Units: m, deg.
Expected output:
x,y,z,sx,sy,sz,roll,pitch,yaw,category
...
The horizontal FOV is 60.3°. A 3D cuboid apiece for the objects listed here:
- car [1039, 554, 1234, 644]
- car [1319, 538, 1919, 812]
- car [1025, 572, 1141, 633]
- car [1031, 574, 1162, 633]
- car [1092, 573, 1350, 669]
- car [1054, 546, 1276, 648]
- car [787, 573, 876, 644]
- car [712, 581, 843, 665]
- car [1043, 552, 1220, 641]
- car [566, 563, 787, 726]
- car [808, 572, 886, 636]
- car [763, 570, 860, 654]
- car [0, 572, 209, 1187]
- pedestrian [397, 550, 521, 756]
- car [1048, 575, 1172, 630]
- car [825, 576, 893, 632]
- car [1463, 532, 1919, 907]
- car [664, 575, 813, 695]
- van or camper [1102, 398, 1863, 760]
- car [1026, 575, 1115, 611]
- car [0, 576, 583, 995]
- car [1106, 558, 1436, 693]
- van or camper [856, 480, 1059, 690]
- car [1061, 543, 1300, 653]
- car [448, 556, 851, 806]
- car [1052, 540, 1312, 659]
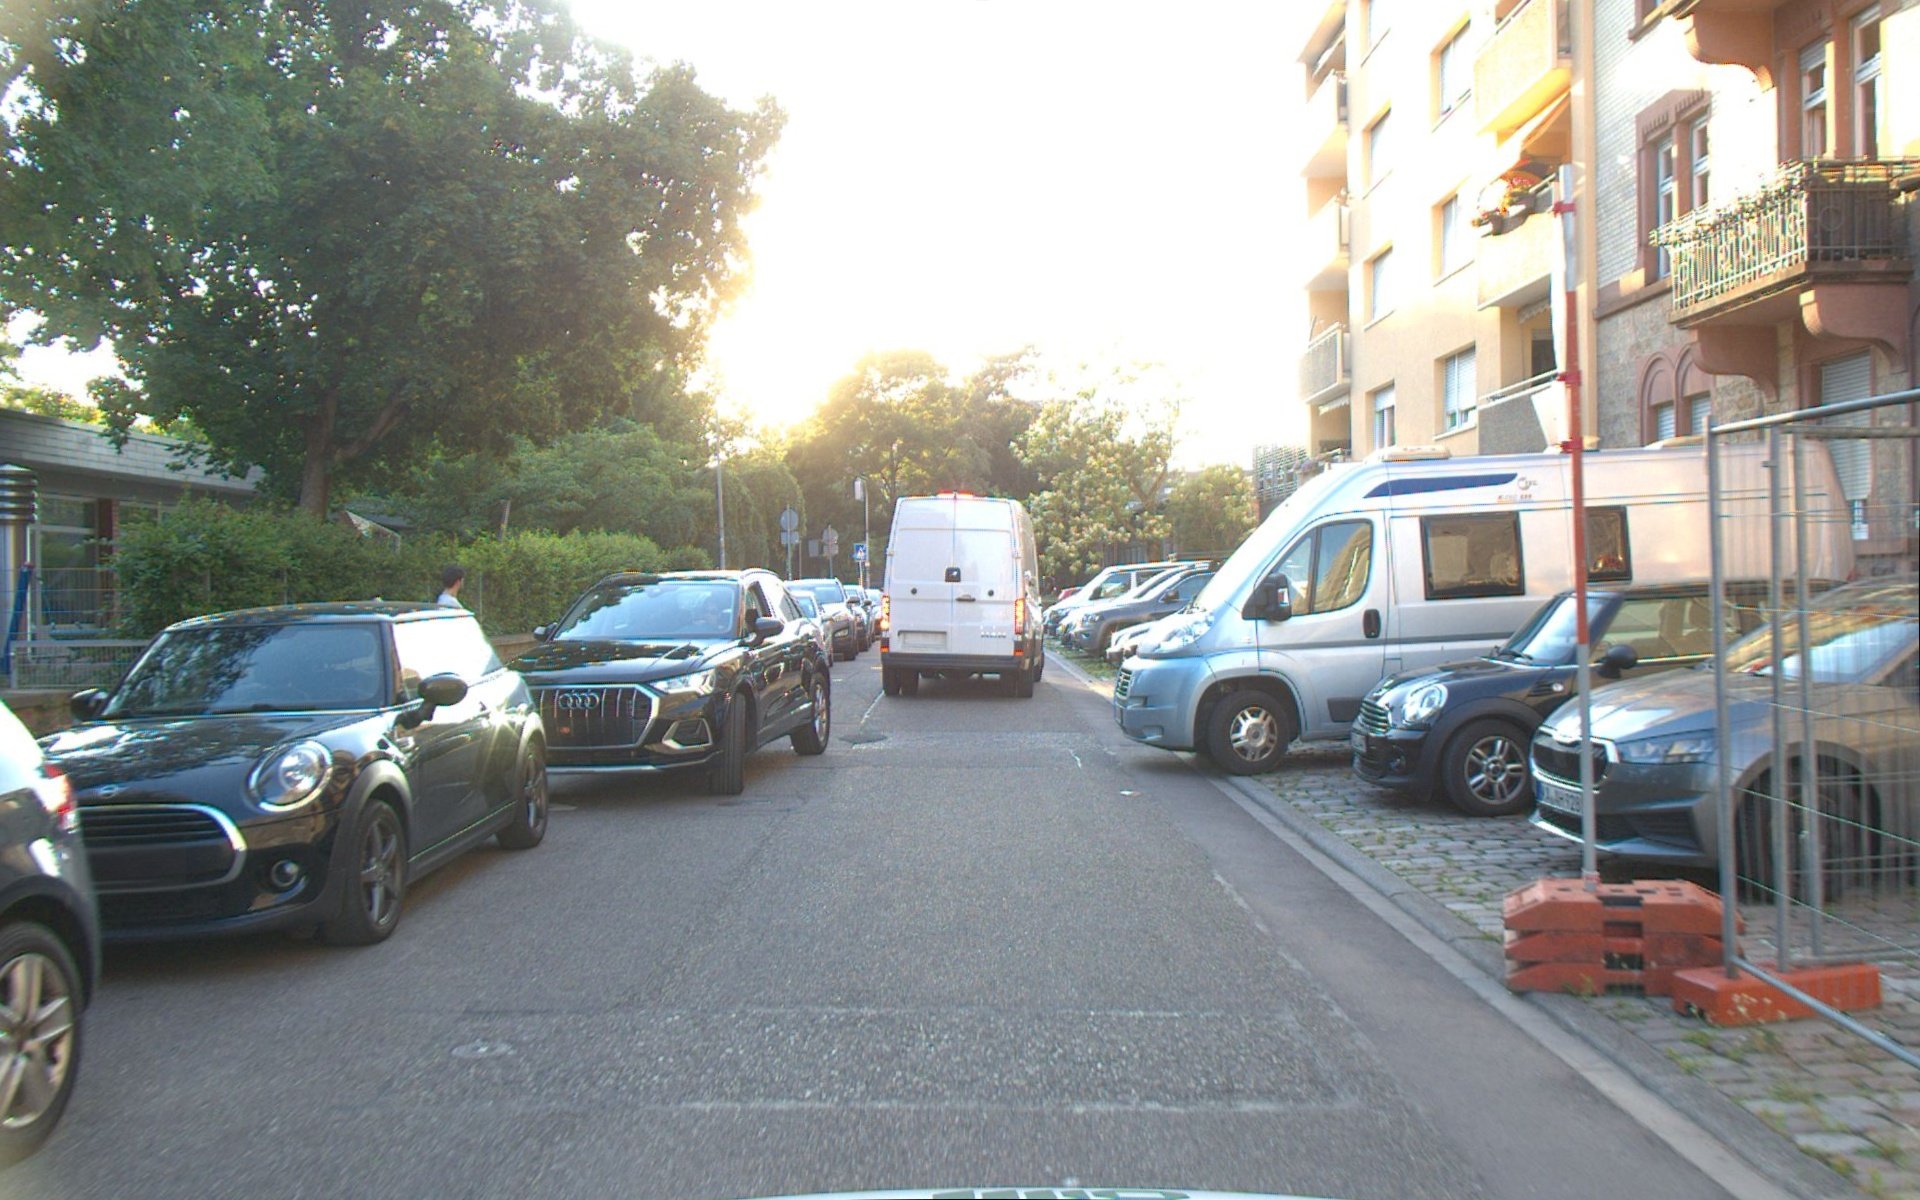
x,y,z,sx,sy,sz,roll,pitch,yaw,category
4.326,-0.040,41.114,4.611,2.183,2.000,0,1,-2,car
4.551,0.463,11.103,3.854,1.512,1.787,-3,-1,1,car
4.170,0.070,56.568,3.904,2.049,2.001,0,0,1,car
4.188,0.097,51.168,3.905,1.758,2.000,0,0,0,car
4.460,0.341,28.686,4.151,1.450,1.719,-2,0,-1,car
4.455,-0.080,36.436,4.611,2.183,2.000,0,1,-2,car
-3.093,0.169,40.507,1.953,1.646,3.999,0,1,-2,car
-3.214,0.364,29.848,1.953,1.422,4.000,0,1,-1,car
4.444,-0.092,43.274,4.404,2.269,2.032,0,0,-1,car
-3.250,0.460,19.748,1.746,1.659,4.001,-3,0,2,car
-3.017,0.072,44.826,1.953,1.646,3.999,0,1,-2,car
-3.121,0.213,35.299,1.954,1.691,3.997,0,1,-4,car
-3.222,0.737,3.071,1.681,1.522,4.360,-2,1,-1,car
-4.631,0.476,15.343,0.919,1.862,0.786,0,0,-2,pedestrian
4.889,0.075,54.208,3.905,1.758,2.000,0,0,0,car
-3.044,0.095,50.539,1.953,1.646,3.999,0,1,-2,car
4.852,0.439,8.355,3.909,1.542,2.018,-3,1,-5,car
-3.250,0.458,24.979,1.819,1.582,4.098,-2,1,-3,car
4.212,-0.170,14.061,5.808,2.818,2.109,0,0,-1,van or camper
5.099,-0.313,76.483,3.908,1.646,1.999,0,1,-4,car
-3.171,0.673,8.115,1.603,1.504,3.993,-2,1,1,car
4.053,0.310,21.958,3.909,1.479,1.834,-4,1,-4,car
0.146,-0.222,23.811,2.402,2.591,6.087,1,1,4,van or camper
4.471,-0.050,34.008,4.611,2.183,2.000,0,1,-2,car
-2.183,0.511,13.020,1.766,1.596,4.569,-1,0,7,car
4.122,-0.019,31.270,4.611,2.183,2.000,0,1,-2,car
